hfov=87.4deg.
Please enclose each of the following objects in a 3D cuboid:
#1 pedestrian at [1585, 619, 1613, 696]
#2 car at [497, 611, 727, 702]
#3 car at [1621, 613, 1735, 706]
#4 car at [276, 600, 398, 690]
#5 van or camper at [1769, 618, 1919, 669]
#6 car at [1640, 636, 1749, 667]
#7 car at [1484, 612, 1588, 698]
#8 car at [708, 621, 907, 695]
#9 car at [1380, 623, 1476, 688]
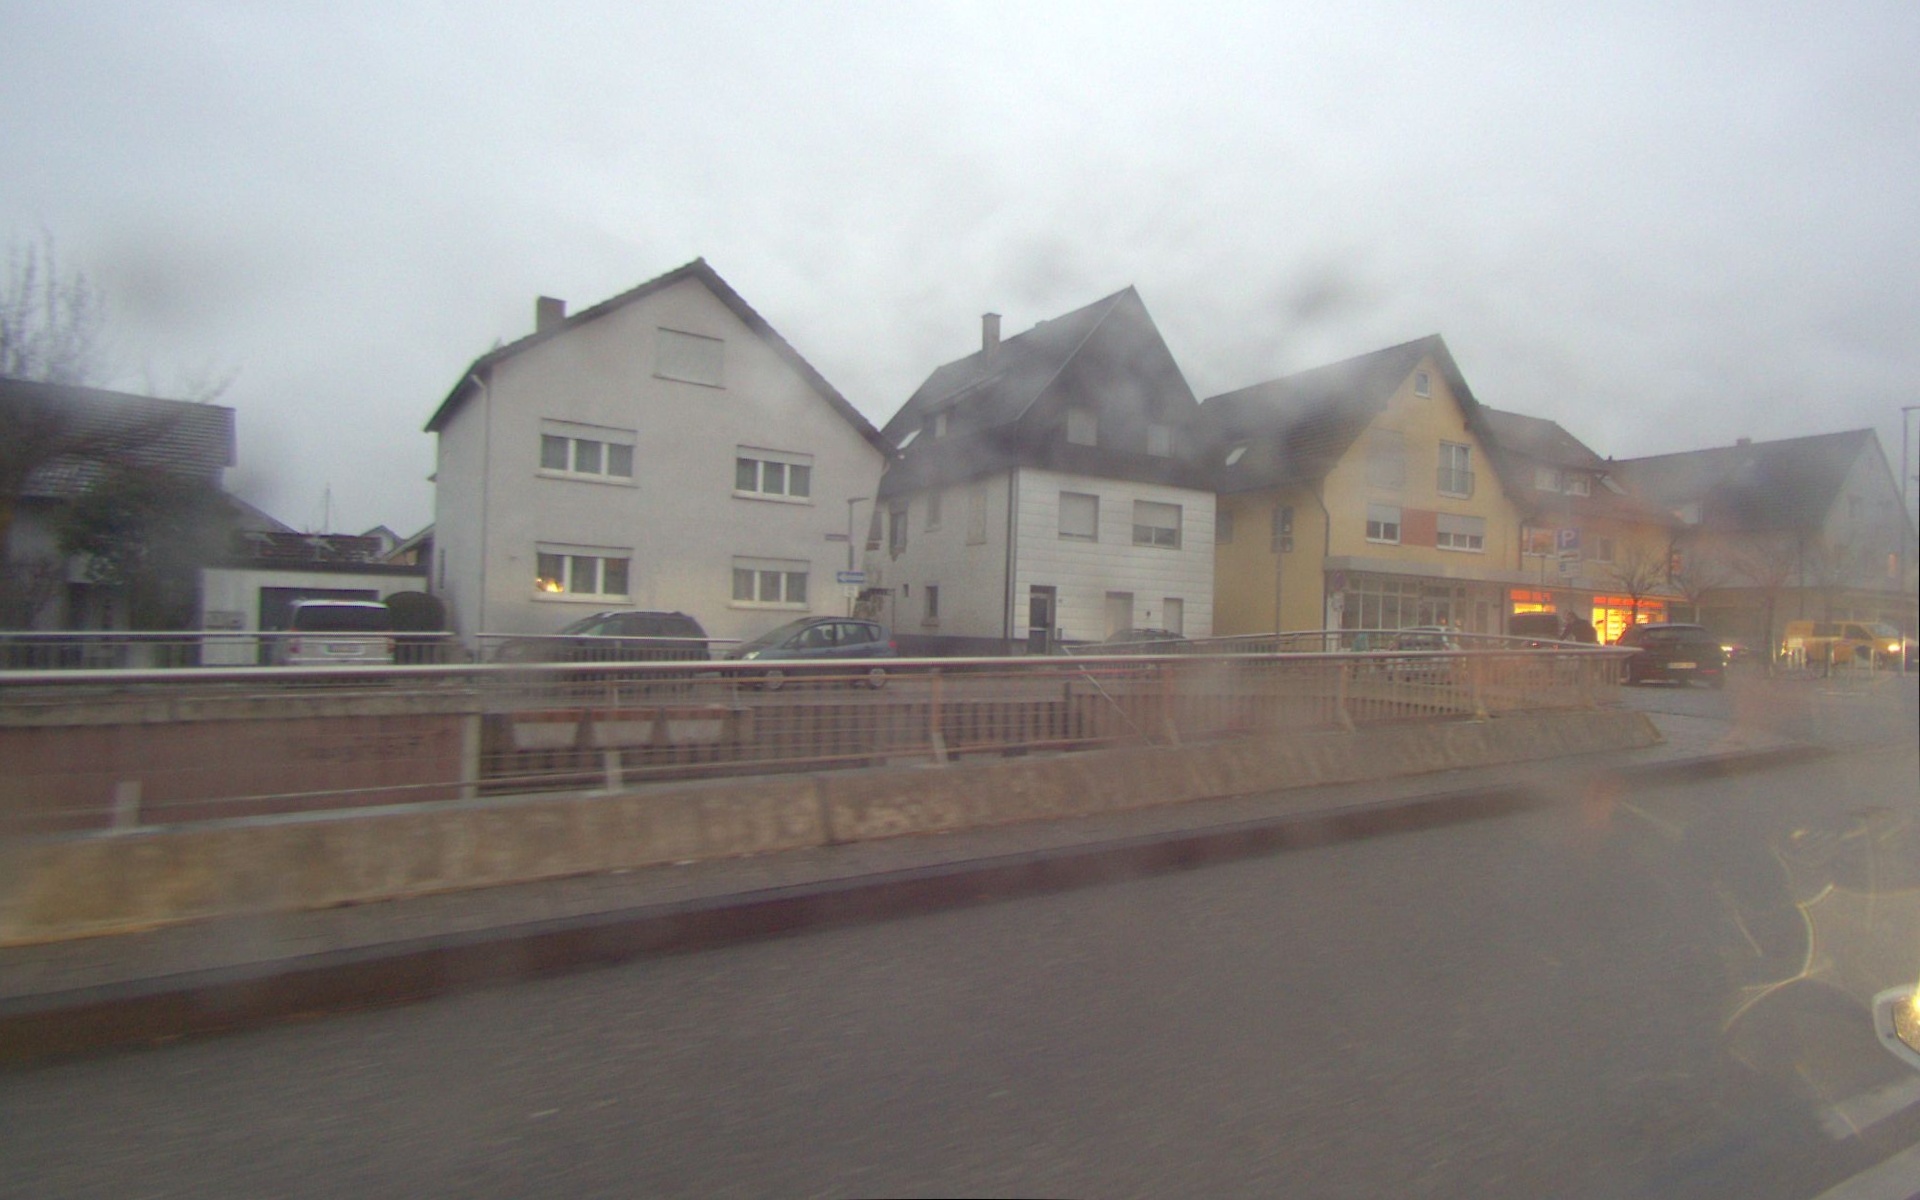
[{"bbox_3d":[14.704,1.317,23.097,0.489,1.724,0.711,-2,-2,34],"label":"pedestrian"},{"bbox_3d":[-7.188,1.117,20.894,4.176,1.705,1.898,1,-1,-36],"label":"car"},{"bbox_3d":[16.567,1.299,23.351,2.009,1.951,4.045,0,-1,34],"label":"car"},{"bbox_3d":[-13.308,0.935,21.354,1.847,1.716,3.958,1,-2,-37],"label":"car"},{"bbox_3d":[37.701,1.773,42.335,1.967,1.980,5.531,1,-1,-15],"label":"van or camper"},{"bbox_3d":[35.644,2.455,48.839,1.708,1.383,3.965,1,-1,-32],"label":"car"},{"bbox_3d":[14.444,1.299,25.092,2.009,1.951,4.045,0,-1,34],"label":"car"},{"bbox_3d":[-3.515,1.298,23.392,4.171,1.583,1.900,1,-1,-33],"label":"car"},{"bbox_3d":[12.888,1.462,27.543,1.796,1.634,4.045,0,-1,34],"label":"car"}]
